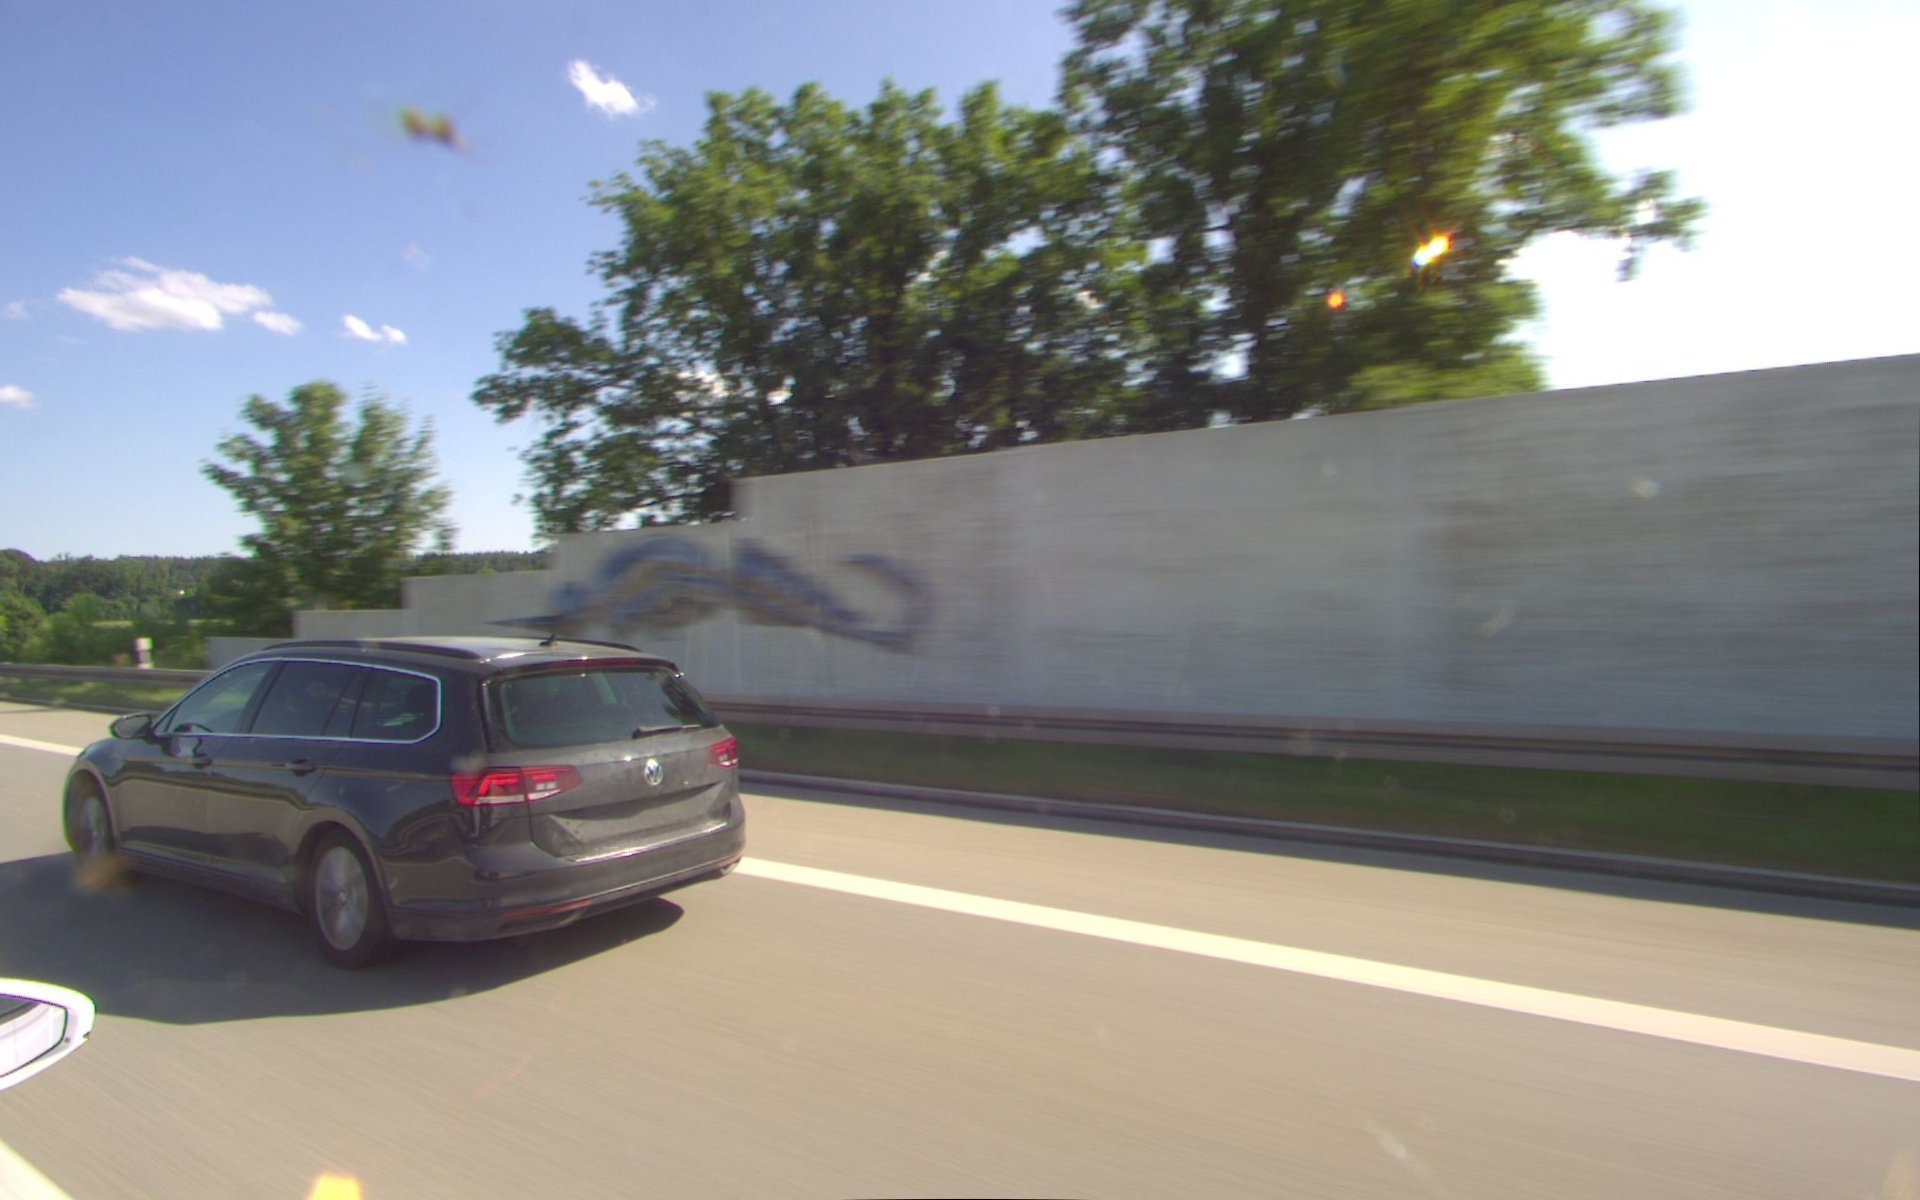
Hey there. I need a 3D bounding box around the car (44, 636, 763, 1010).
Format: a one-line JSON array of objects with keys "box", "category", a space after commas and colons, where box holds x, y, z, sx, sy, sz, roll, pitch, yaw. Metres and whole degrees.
[{"box": [-3.319, 0.919, 5.704, 4.350, 1.417, 1.716, -1, -2, 32], "category": "car"}]
